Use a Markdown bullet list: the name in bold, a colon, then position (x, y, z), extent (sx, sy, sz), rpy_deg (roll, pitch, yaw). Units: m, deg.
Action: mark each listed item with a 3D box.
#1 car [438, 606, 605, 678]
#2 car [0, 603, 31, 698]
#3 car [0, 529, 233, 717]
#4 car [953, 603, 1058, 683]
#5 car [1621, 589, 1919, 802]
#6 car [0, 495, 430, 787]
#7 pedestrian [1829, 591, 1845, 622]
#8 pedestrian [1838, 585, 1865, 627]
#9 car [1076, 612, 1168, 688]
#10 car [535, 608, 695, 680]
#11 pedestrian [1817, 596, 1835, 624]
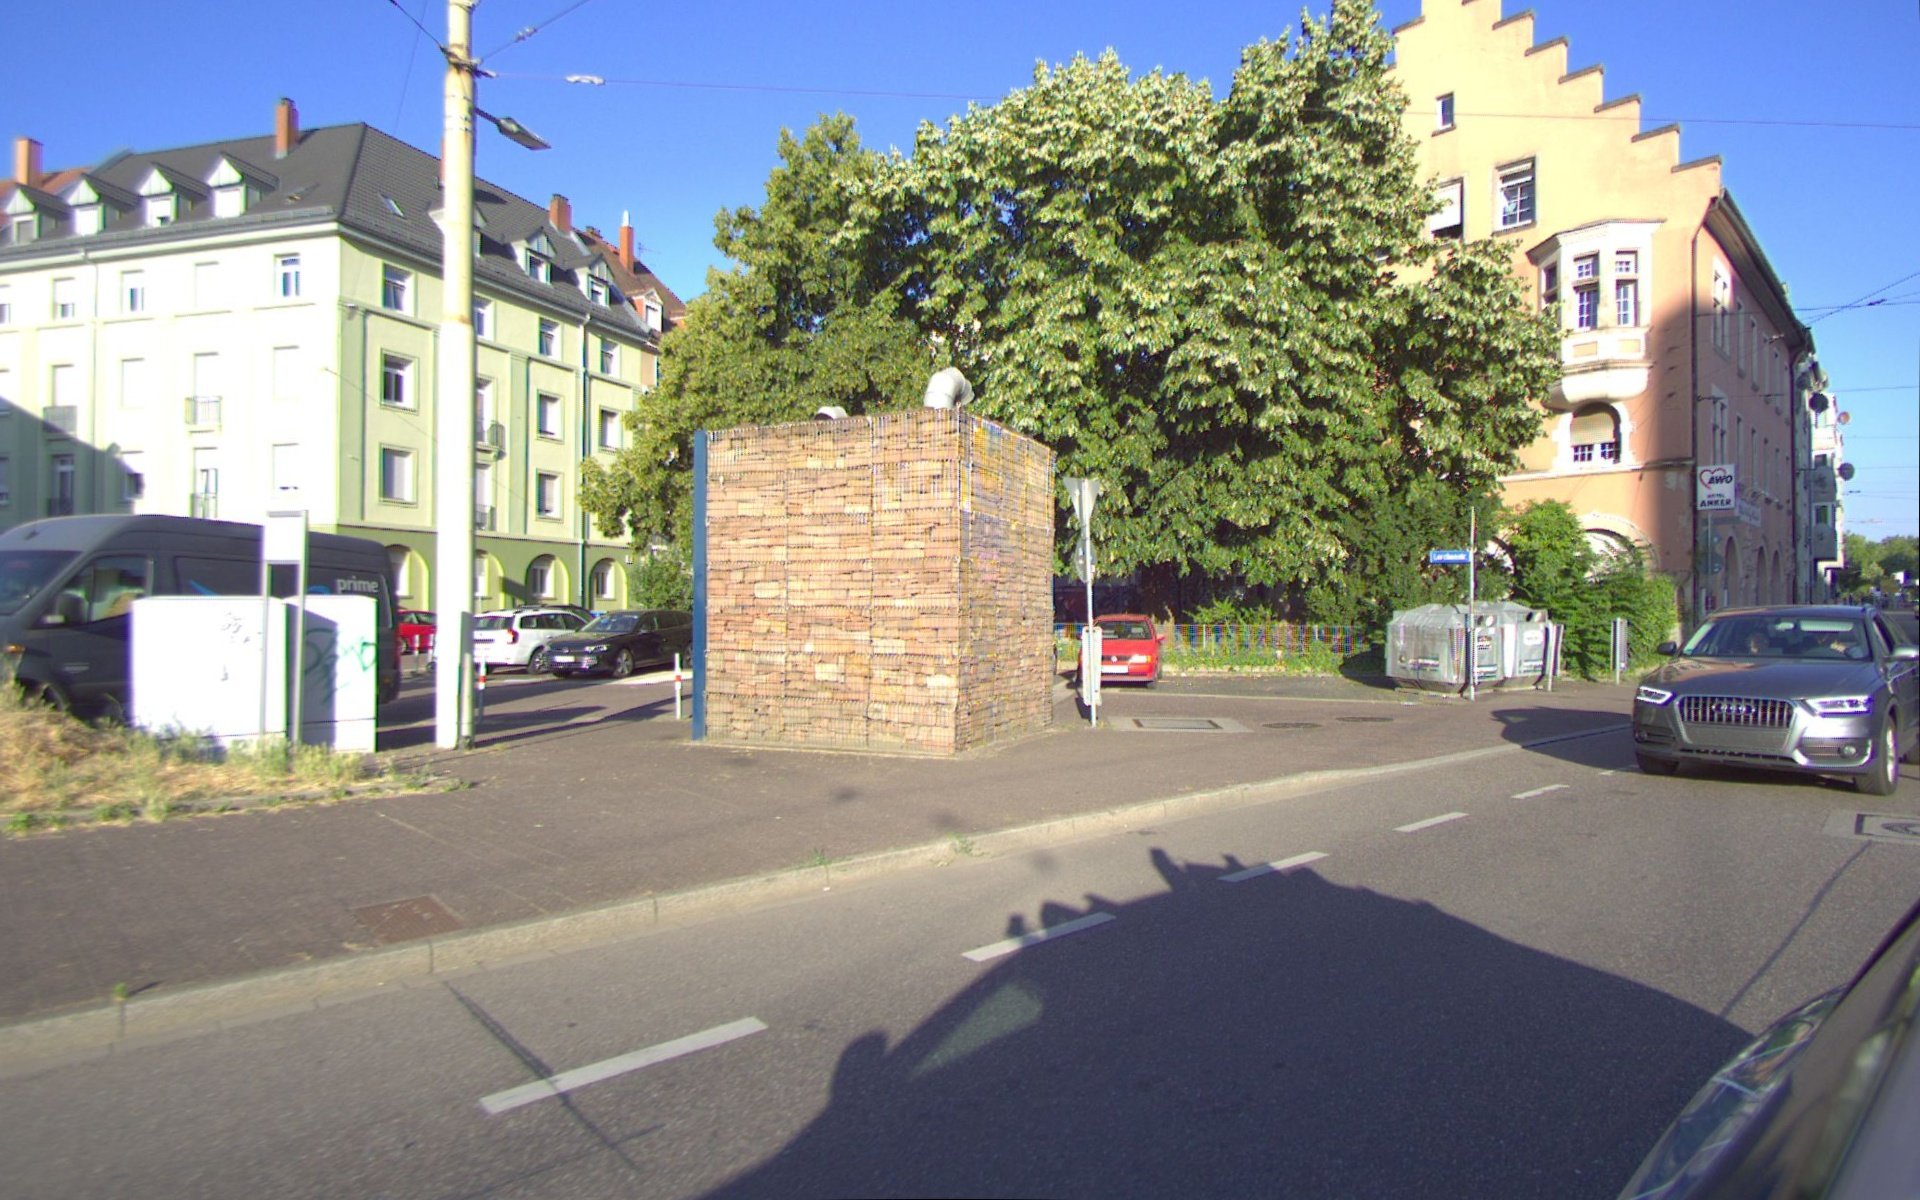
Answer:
- **car**: position (-10.539, 0.962, 24.669), extent (1.896, 1.559, 3.894), rpy_deg (-1, 0, 11)
- **car**: position (-15.219, 0.745, 13.505), extent (1.752, 1.391, 3.875), rpy_deg (0, 0, 13)
- **car**: position (-12.355, 0.276, 12.627), extent (2.012, 2.242, 5.394), rpy_deg (0, 0, 13)
- **car**: position (1.053, 0.875, 21.822), extent (1.607, 1.556, 3.431), rpy_deg (-1, 0, 14)
- **car**: position (8.017, 0.744, 9.631), extent (3.995, 1.607, 1.770), rpy_deg (0, -2, -40)
- **car**: position (-9.355, 0.367, 11.924), extent (2.012, 2.700, 6.191), rpy_deg (0, 0, 13)
- **pedestrian**: position (39.582, 0.287, 45.682), extent (0.513, 1.361, 0.600), rpy_deg (1, 1, 41)
- **pedestrian**: position (39.207, 0.260, 44.516), extent (0.830, 1.794, 0.980), rpy_deg (0, 0, 45)
- **car**: position (3.388, 0.950, 20.774), extent (1.607, 1.374, 3.431), rpy_deg (0, 0, 14)
- **car**: position (-7.952, 0.960, 23.756), extent (1.723, 1.485, 4.211), rpy_deg (-1, 0, 11)
- **pedestrian**: position (38.852, 0.444, 45.419), extent (0.587, 1.267, 0.575), rpy_deg (0, 0, 45)
